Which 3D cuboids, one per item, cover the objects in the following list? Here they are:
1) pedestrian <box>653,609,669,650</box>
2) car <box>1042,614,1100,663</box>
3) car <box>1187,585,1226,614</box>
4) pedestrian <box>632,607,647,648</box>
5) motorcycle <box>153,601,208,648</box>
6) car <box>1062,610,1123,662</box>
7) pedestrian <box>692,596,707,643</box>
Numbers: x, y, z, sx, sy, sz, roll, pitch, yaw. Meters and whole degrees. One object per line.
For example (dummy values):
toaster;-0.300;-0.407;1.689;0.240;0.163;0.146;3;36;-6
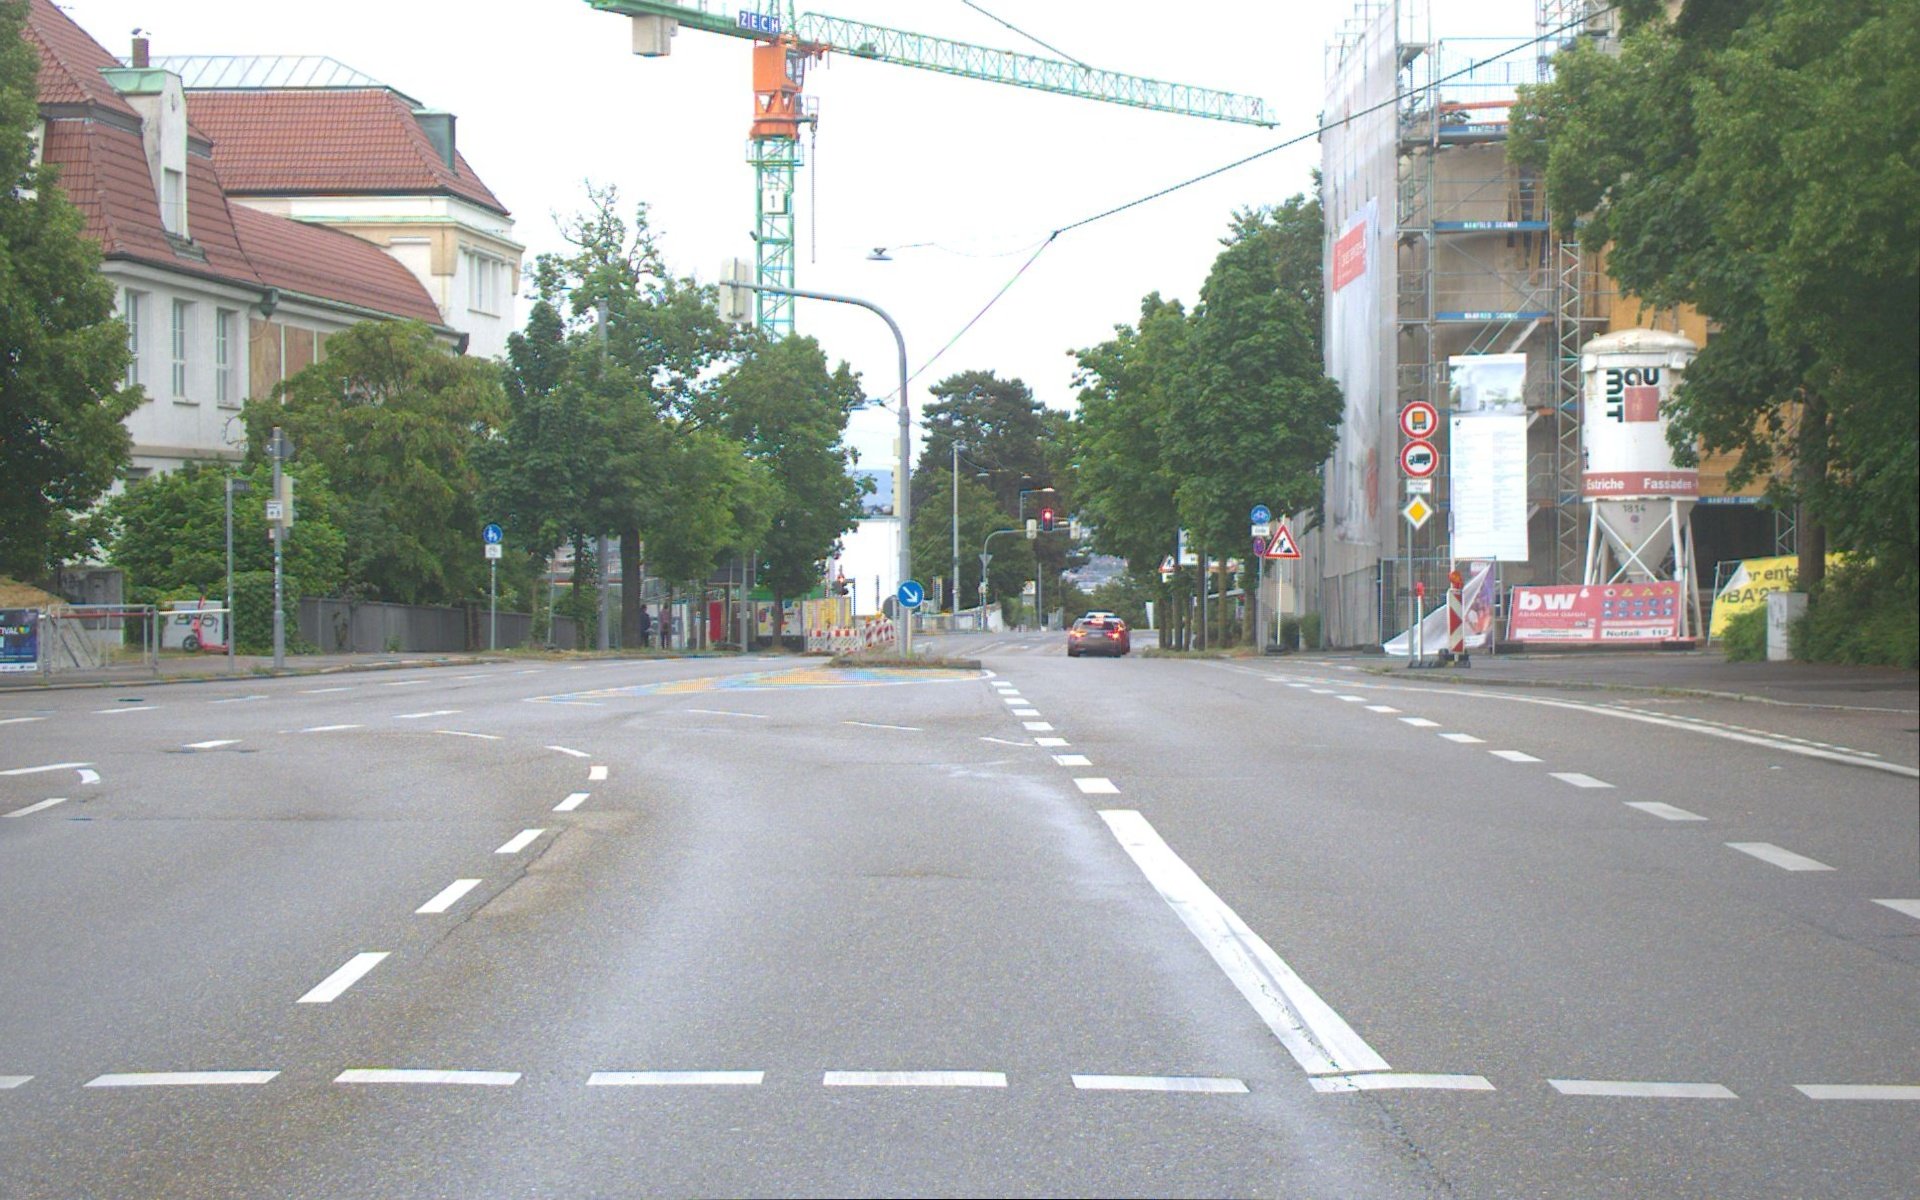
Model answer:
pedestrian;-10.109;0.995;116.192;0.474;1.392;0.411;0;1;-1
car;4.224;1.445;131.510;1.993;1.744;4.000;-1;1;-1
car;15.722;-0.021;219.323;1.994;1.744;3.998;-1;1;11
pedestrian;-10.846;0.936;116.293;0.474;1.391;0.411;-1;1;-1
motorcycle;-14.731;0.463;64.971;0.849;0.874;0.877;1;0;-1
car;4.787;1.291;124.670;1.993;1.744;4.000;-1;1;-1
pedestrian;-9.152;0.677;120.926;0.493;1.640;0.534;1;0;-6
